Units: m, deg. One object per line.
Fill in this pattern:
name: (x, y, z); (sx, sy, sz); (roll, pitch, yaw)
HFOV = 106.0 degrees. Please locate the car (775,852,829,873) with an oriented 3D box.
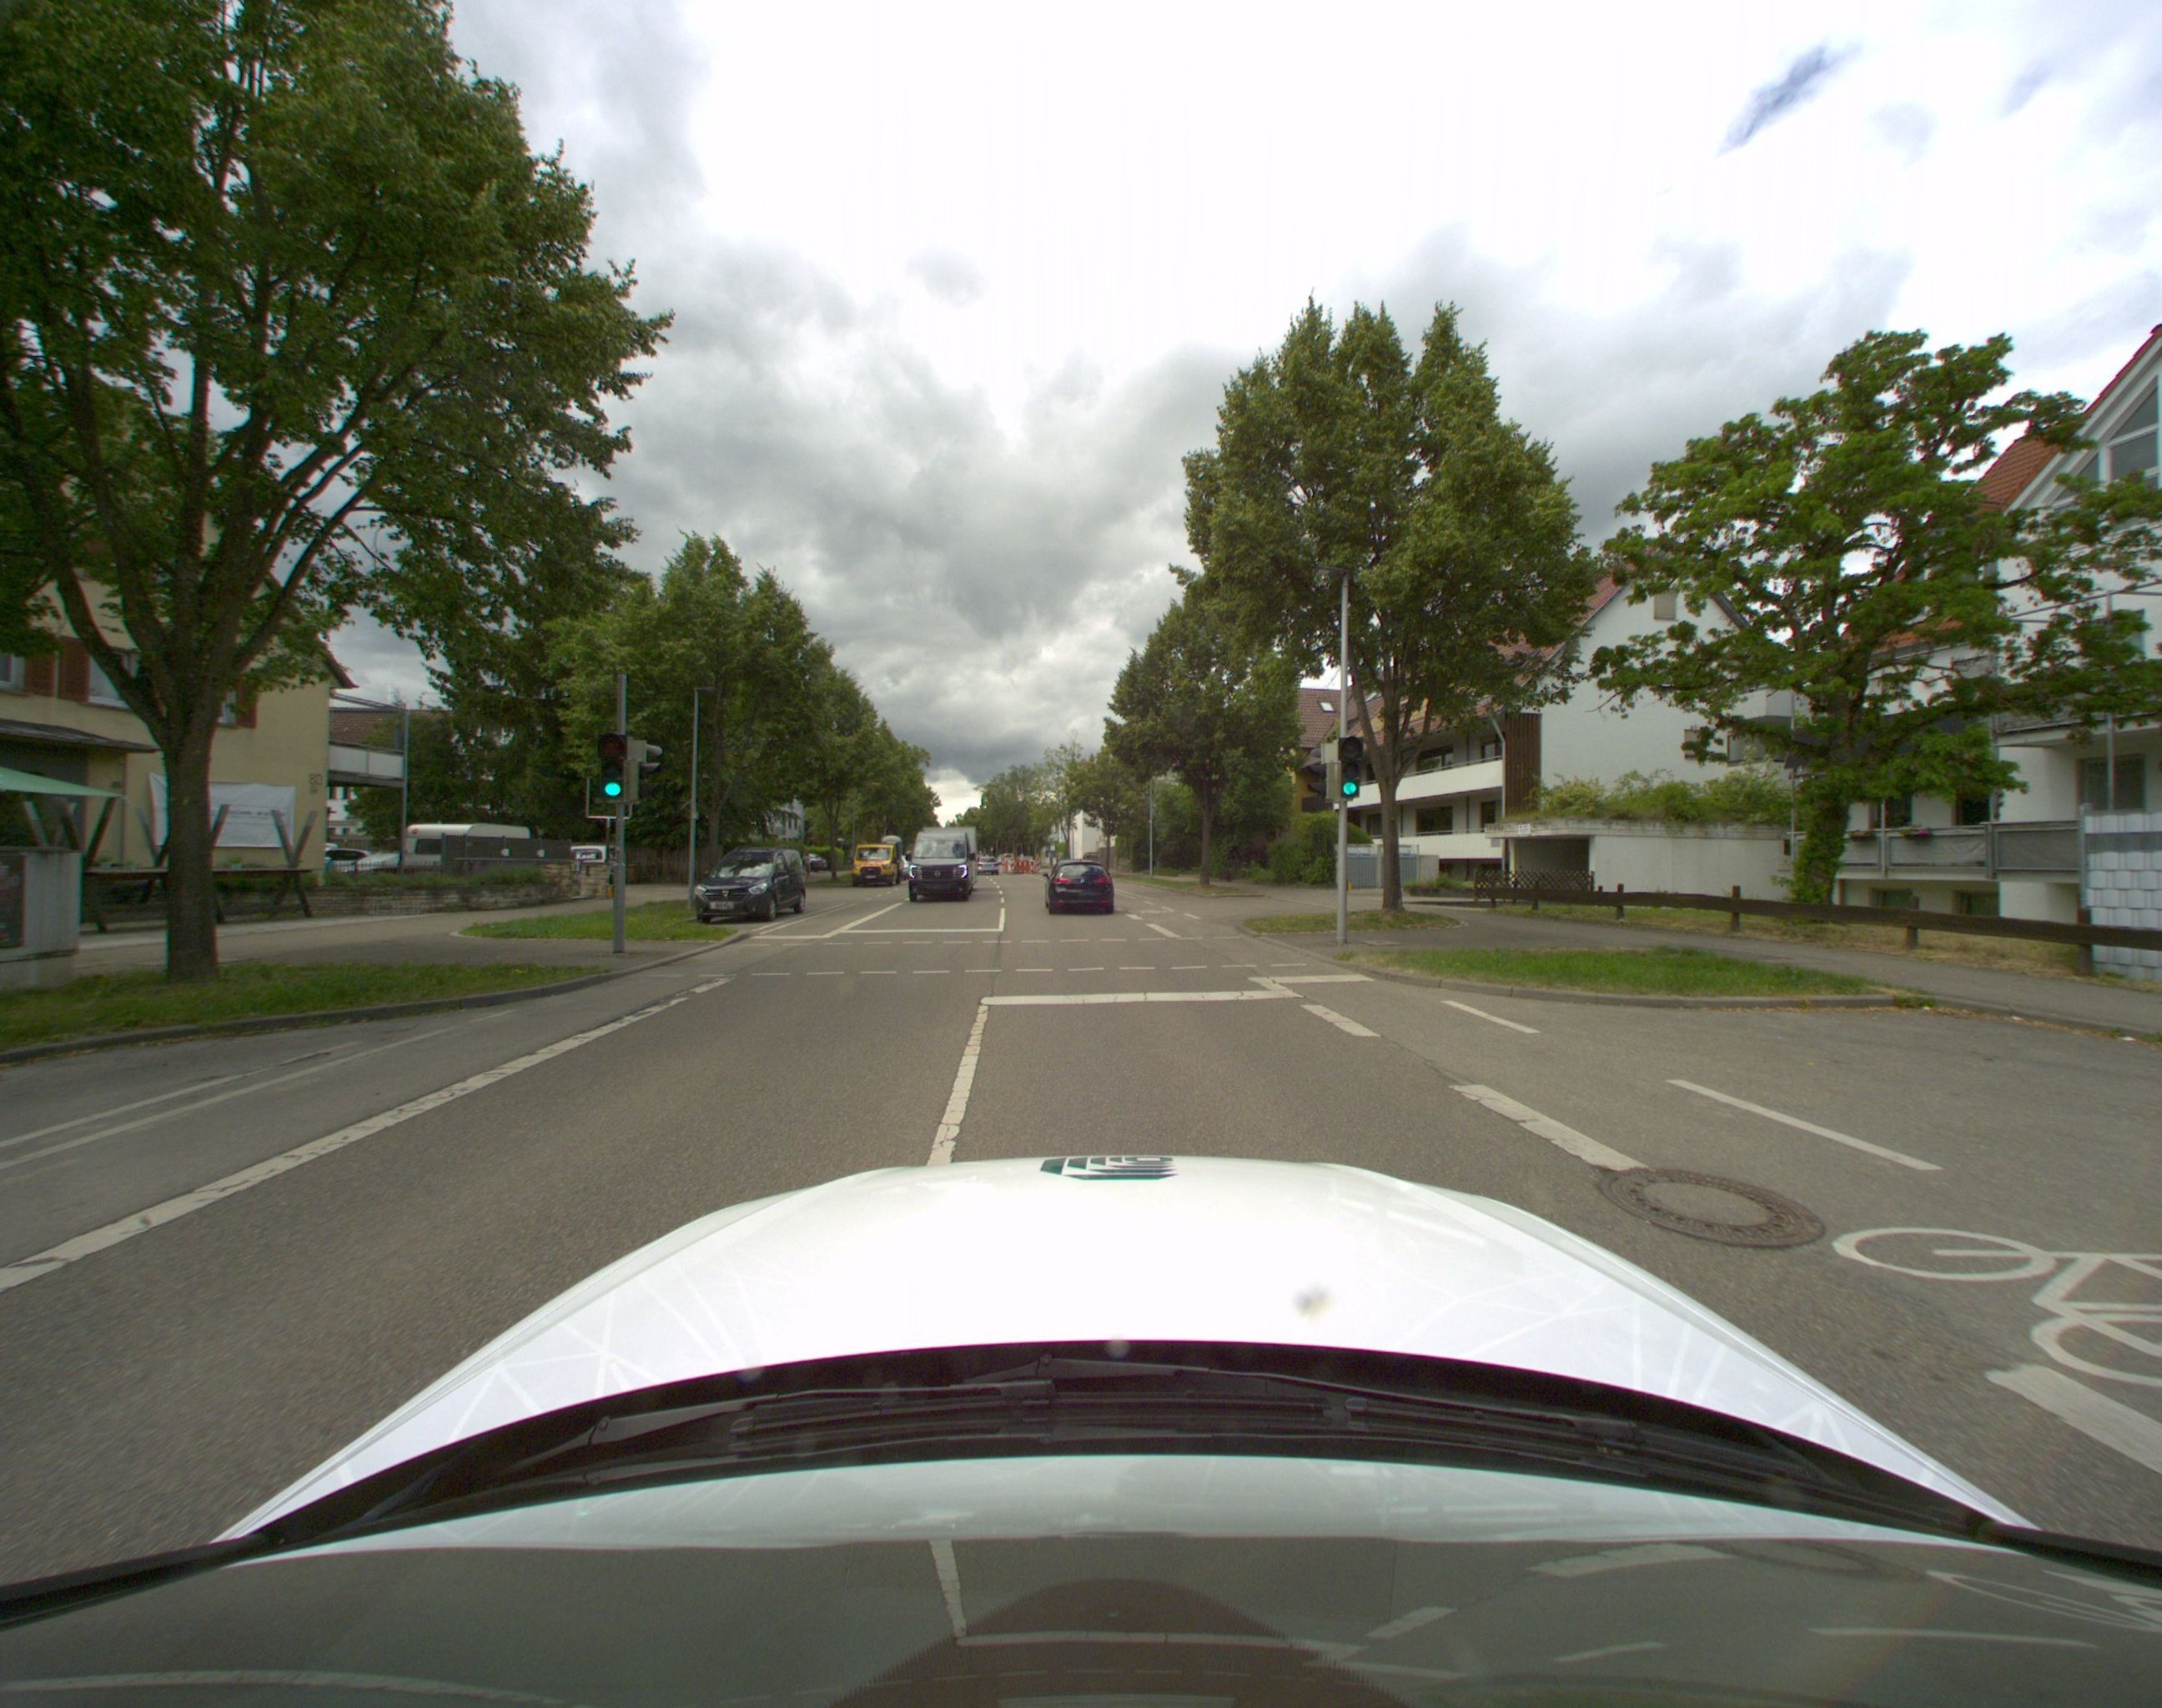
car: (-21.658, 0.644, 63.277); (3.678, 1.594, 1.675); (0, 0, -7)

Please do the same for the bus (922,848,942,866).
bus: (-18.159, 0.380, 99.646); (1.992, 2.123, 7.339); (0, 0, -7)

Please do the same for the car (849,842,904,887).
car: (-10.607, 0.519, 42.552); (2.090, 2.175, 5.033); (0, 0, -6)

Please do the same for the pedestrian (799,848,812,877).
pedestrian: (-16.523, 0.513, 48.877); (0.595, 1.741, 0.573); (0, 0, -7)

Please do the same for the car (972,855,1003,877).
car: (-7.659, 0.957, 66.302); (1.909, 1.685, 3.720); (-1, 0, -16)

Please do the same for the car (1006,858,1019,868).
car: (-9.845, 1.266, 116.693); (1.806, 1.415, 3.688); (0, 0, -4)

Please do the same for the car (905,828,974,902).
car: (-5.007, 0.356, 29.518); (2.026, 2.385, 5.251); (-1, 0, -6)

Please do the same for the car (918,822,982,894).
car: (-5.593, 0.159, 35.675); (2.285, 2.792, 7.129); (-1, 0, -6)

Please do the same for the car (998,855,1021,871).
car: (-6.590, 0.787, 75.139); (1.810, 1.415, 3.681); (0, 0, -10)

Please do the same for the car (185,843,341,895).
car: (-29.472, 0.525, 29.521); (1.585, 1.769, 3.786); (0, -1, 6)

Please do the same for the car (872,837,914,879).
car: (-12.182, 0.242, 53.060); (2.090, 2.626, 5.033); (0, 0, -6)

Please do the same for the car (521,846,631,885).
car: (-23.139, 0.526, 37.407); (3.972, 1.769, 1.746); (0, -1, 1)

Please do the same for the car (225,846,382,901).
car: (-26.845, 0.656, 28.301); (1.585, 1.769, 3.786); (0, -1, 6)

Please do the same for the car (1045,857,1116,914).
car: (-0.016, 0.810, 22.669); (1.813, 1.437, 3.739); (-1, 0, 0)

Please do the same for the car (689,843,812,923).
car: (-8.255, 0.667, 20.781); (1.665, 1.772, 4.459); (-1, 0, -6)
